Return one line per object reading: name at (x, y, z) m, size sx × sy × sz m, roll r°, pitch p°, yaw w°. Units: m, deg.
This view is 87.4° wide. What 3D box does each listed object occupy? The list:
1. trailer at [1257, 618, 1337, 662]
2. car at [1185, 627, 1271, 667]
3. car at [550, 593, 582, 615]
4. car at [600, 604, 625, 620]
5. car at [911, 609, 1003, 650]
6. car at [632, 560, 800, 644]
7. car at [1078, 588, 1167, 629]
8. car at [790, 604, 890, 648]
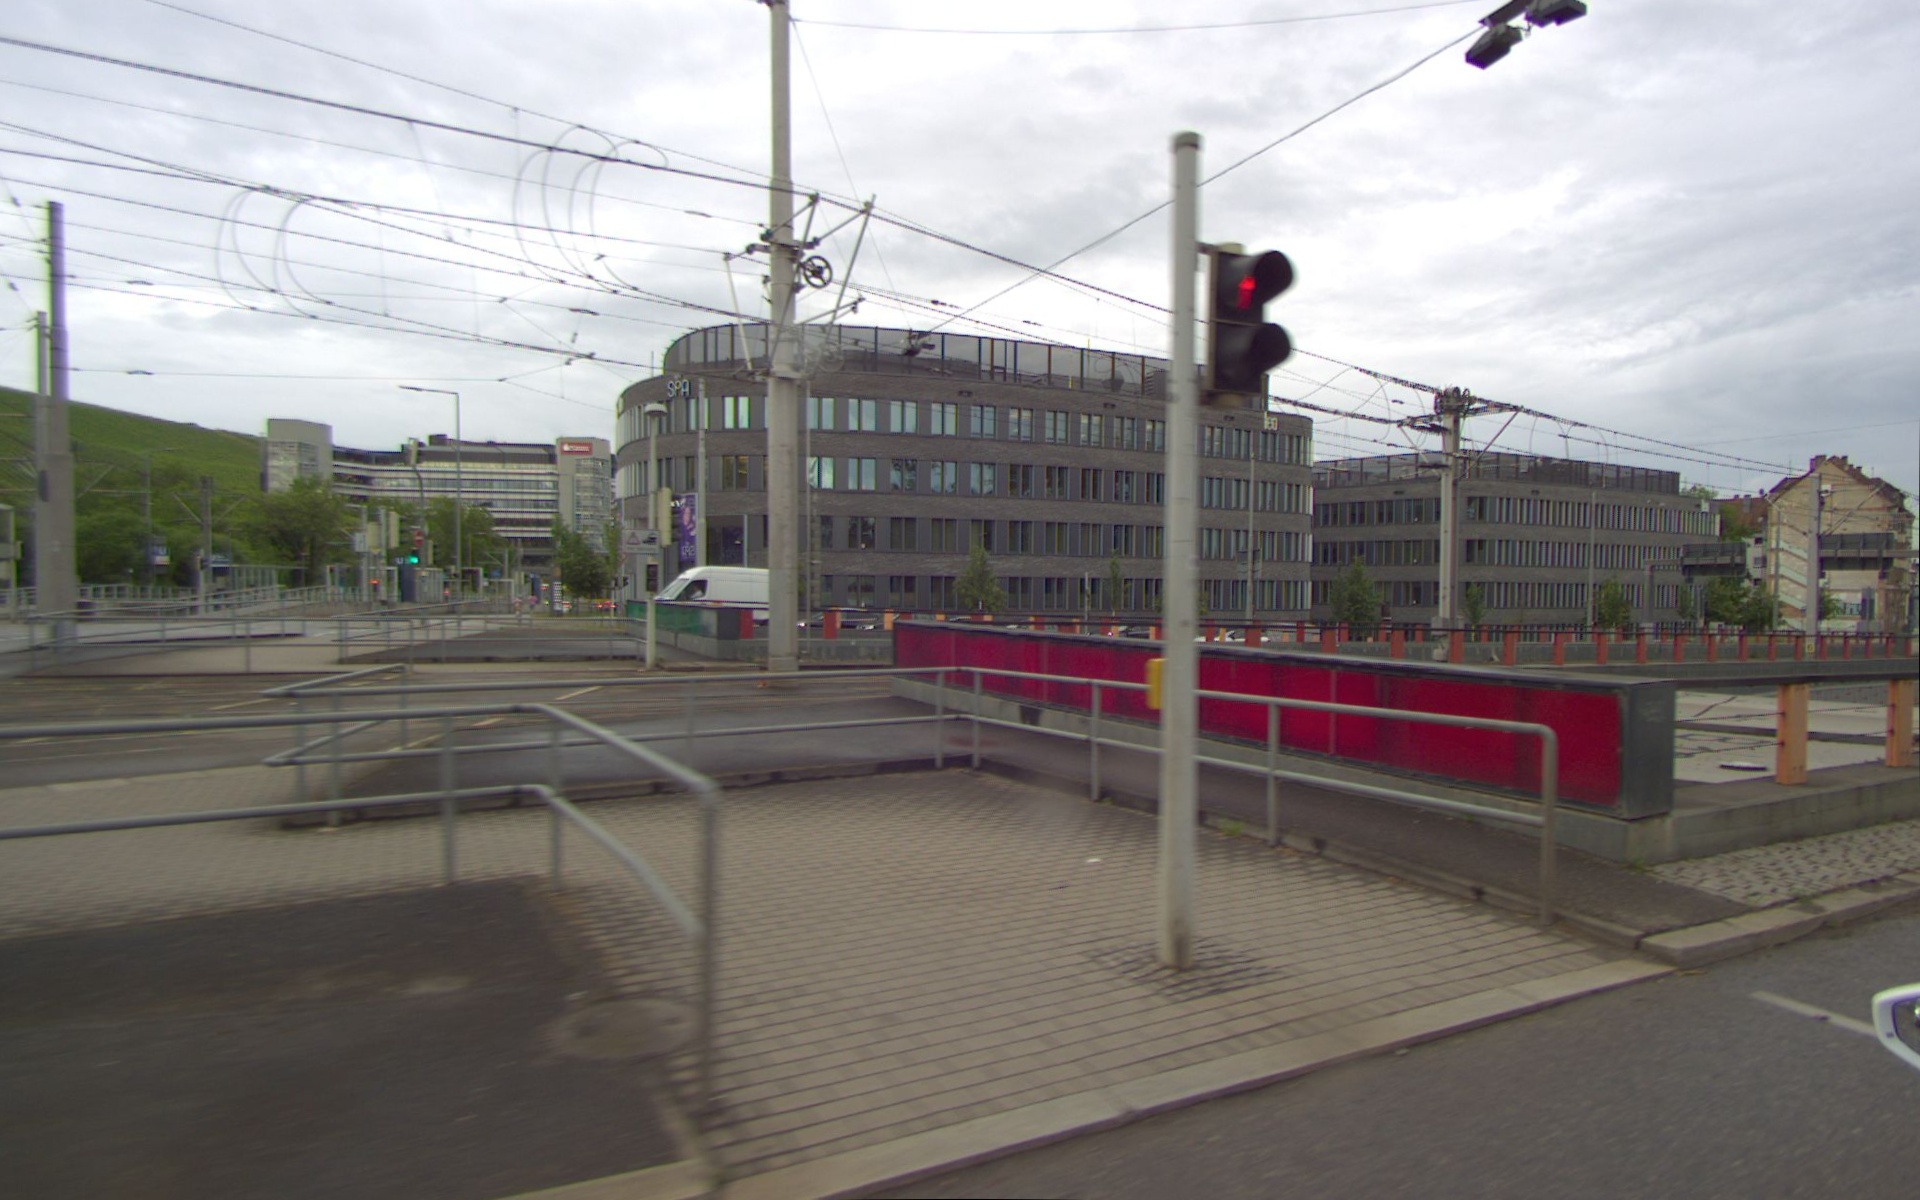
trailer at (18.190, 2.182, 54.149) m, size 4.230 × 2.101 × 1.814 m, roll 4°, pitch -1°, yaw -34°
car at (13.670, 2.416, 51.150) m, size 4.230 × 1.772 × 1.814 m, roll 4°, pitch -1°, yaw -34°
car at (-39.482, 0.360, 100.703) m, size 1.964 × 2.040 × 3.995 m, roll 4°, pitch -1°, yaw -8°
car at (-42.340, 1.440, 122.391) m, size 1.964 × 1.839 × 3.995 m, roll 4°, pitch -1°, yaw -8°
car at (-0.130, 1.355, 46.041) m, size 3.787 × 1.606 × 1.816 m, roll 2°, pitch 2°, yaw -31°
car at (-8.851, 0.145, 36.707) m, size 5.655 × 2.869 × 1.982 m, roll 1°, pitch -1°, yaw -33°
car at (7.630, 0.405, 47.092) m, size 3.788 × 1.606 × 1.816 m, roll 4°, pitch -1°, yaw -31°
car at (-5.152, 1.104, 43.054) m, size 3.788 × 1.606 × 1.816 m, roll 4°, pitch -1°, yaw -31°
